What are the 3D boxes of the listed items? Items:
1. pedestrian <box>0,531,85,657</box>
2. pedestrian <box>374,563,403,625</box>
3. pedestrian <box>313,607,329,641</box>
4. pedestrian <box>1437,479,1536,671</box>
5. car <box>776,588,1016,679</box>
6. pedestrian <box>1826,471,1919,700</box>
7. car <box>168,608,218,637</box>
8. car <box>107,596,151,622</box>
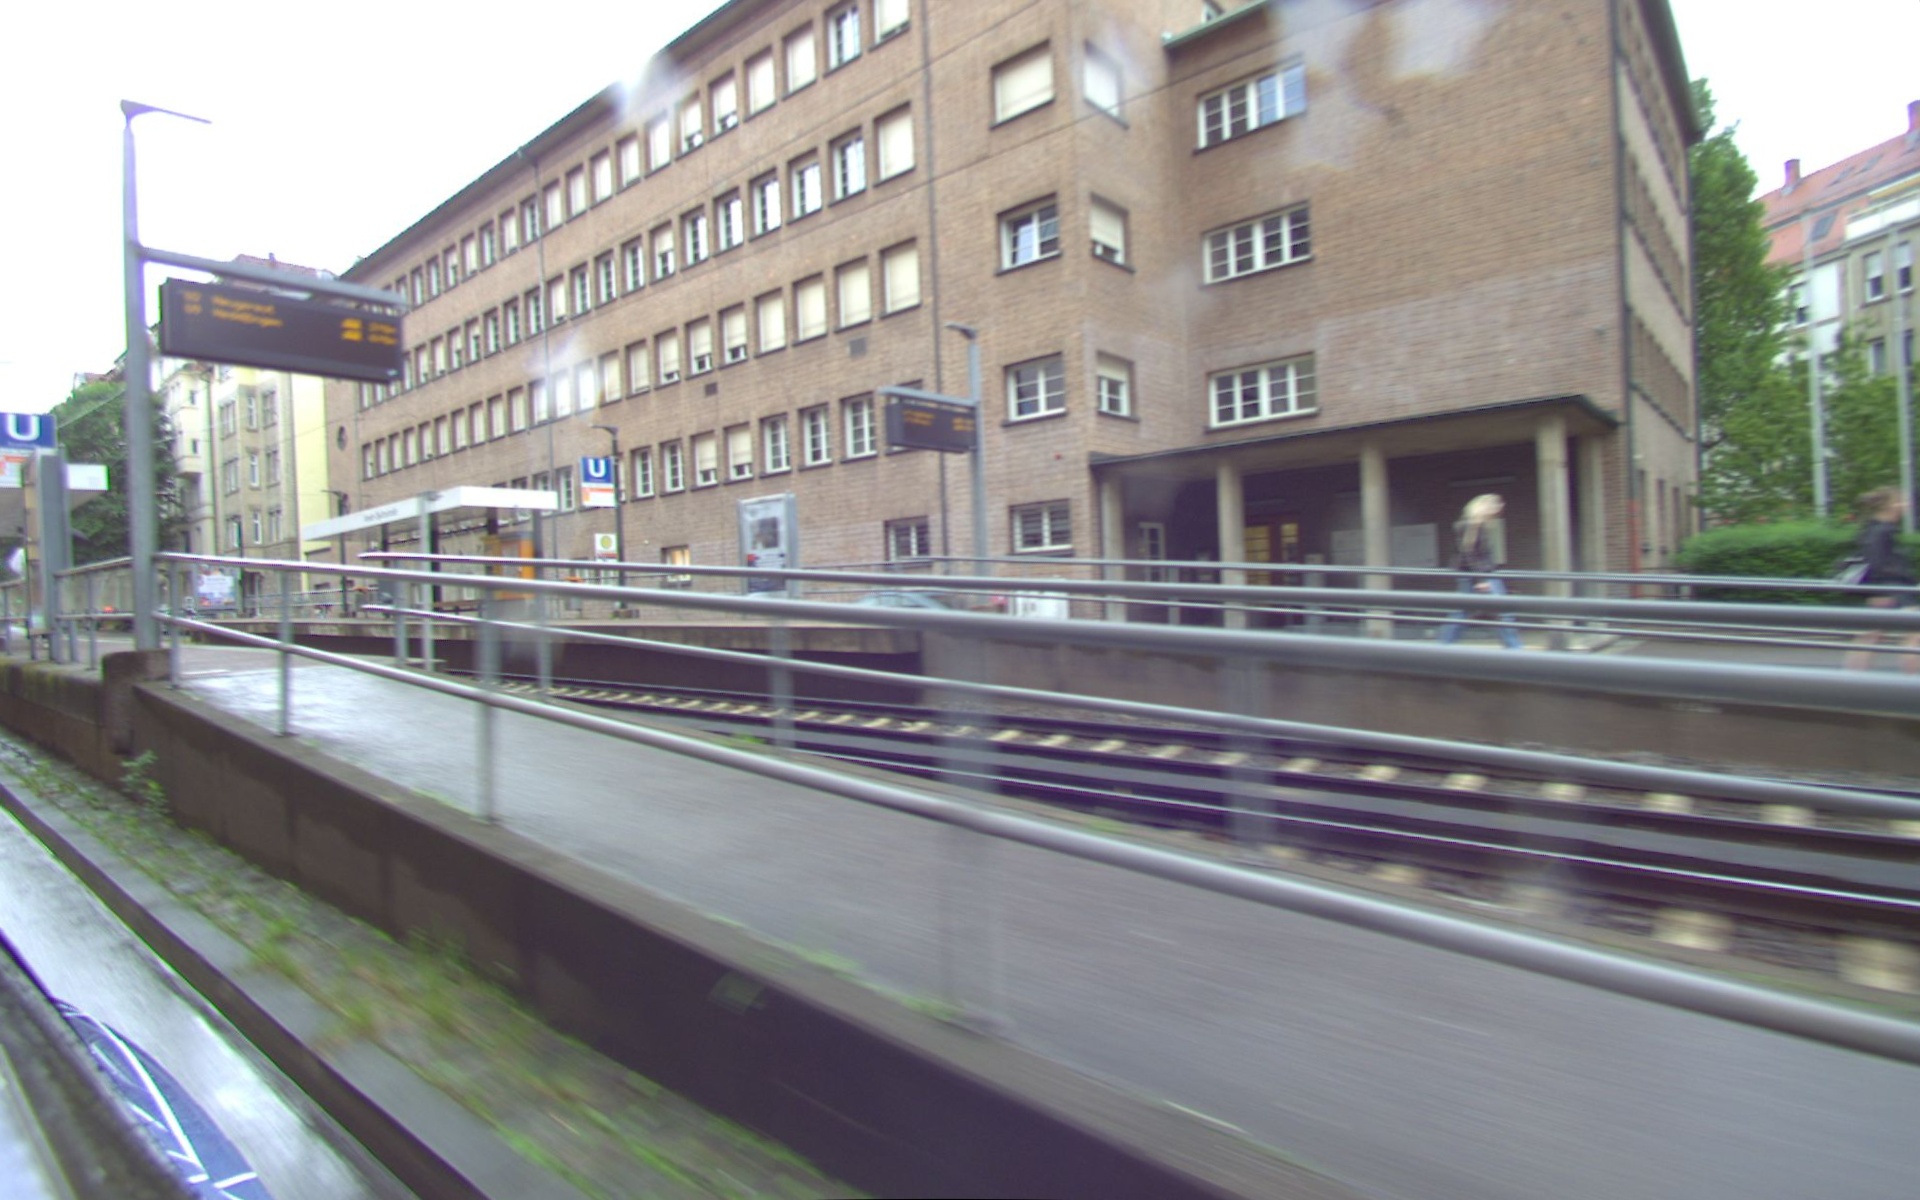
[{"bbox_3d":[-13.846,-0.090,15.022,1.111,1.788,1.102,-1,1,41],"label":"pedestrian"},{"bbox_3d":[-16.249,-0.167,28.786,0.491,1.722,0.581,-1,-1,40],"label":"pedestrian"},{"bbox_3d":[-32.211,1.210,50.983,0.542,1.666,0.543,-1,0,42],"label":"pedestrian"},{"bbox_3d":[4.954,-0.246,9.521,0.688,1.711,0.658,3,4,38],"label":"pedestrian"},{"bbox_3d":[-1.323,0.594,19.161,4.761,1.508,1.626,-1,0,41],"label":"car"},{"bbox_3d":[7.348,-0.117,7.871,0.882,1.709,0.736,2,3,40],"label":"pedestrian"},{"bbox_3d":[-41.846,1.240,55.213,3.111,1.477,1.627,-1,0,43],"label":"car"},{"bbox_3d":[-56.800,0.642,69.180,4.096,1.719,1.627,-1,0,41],"label":"car"}]
